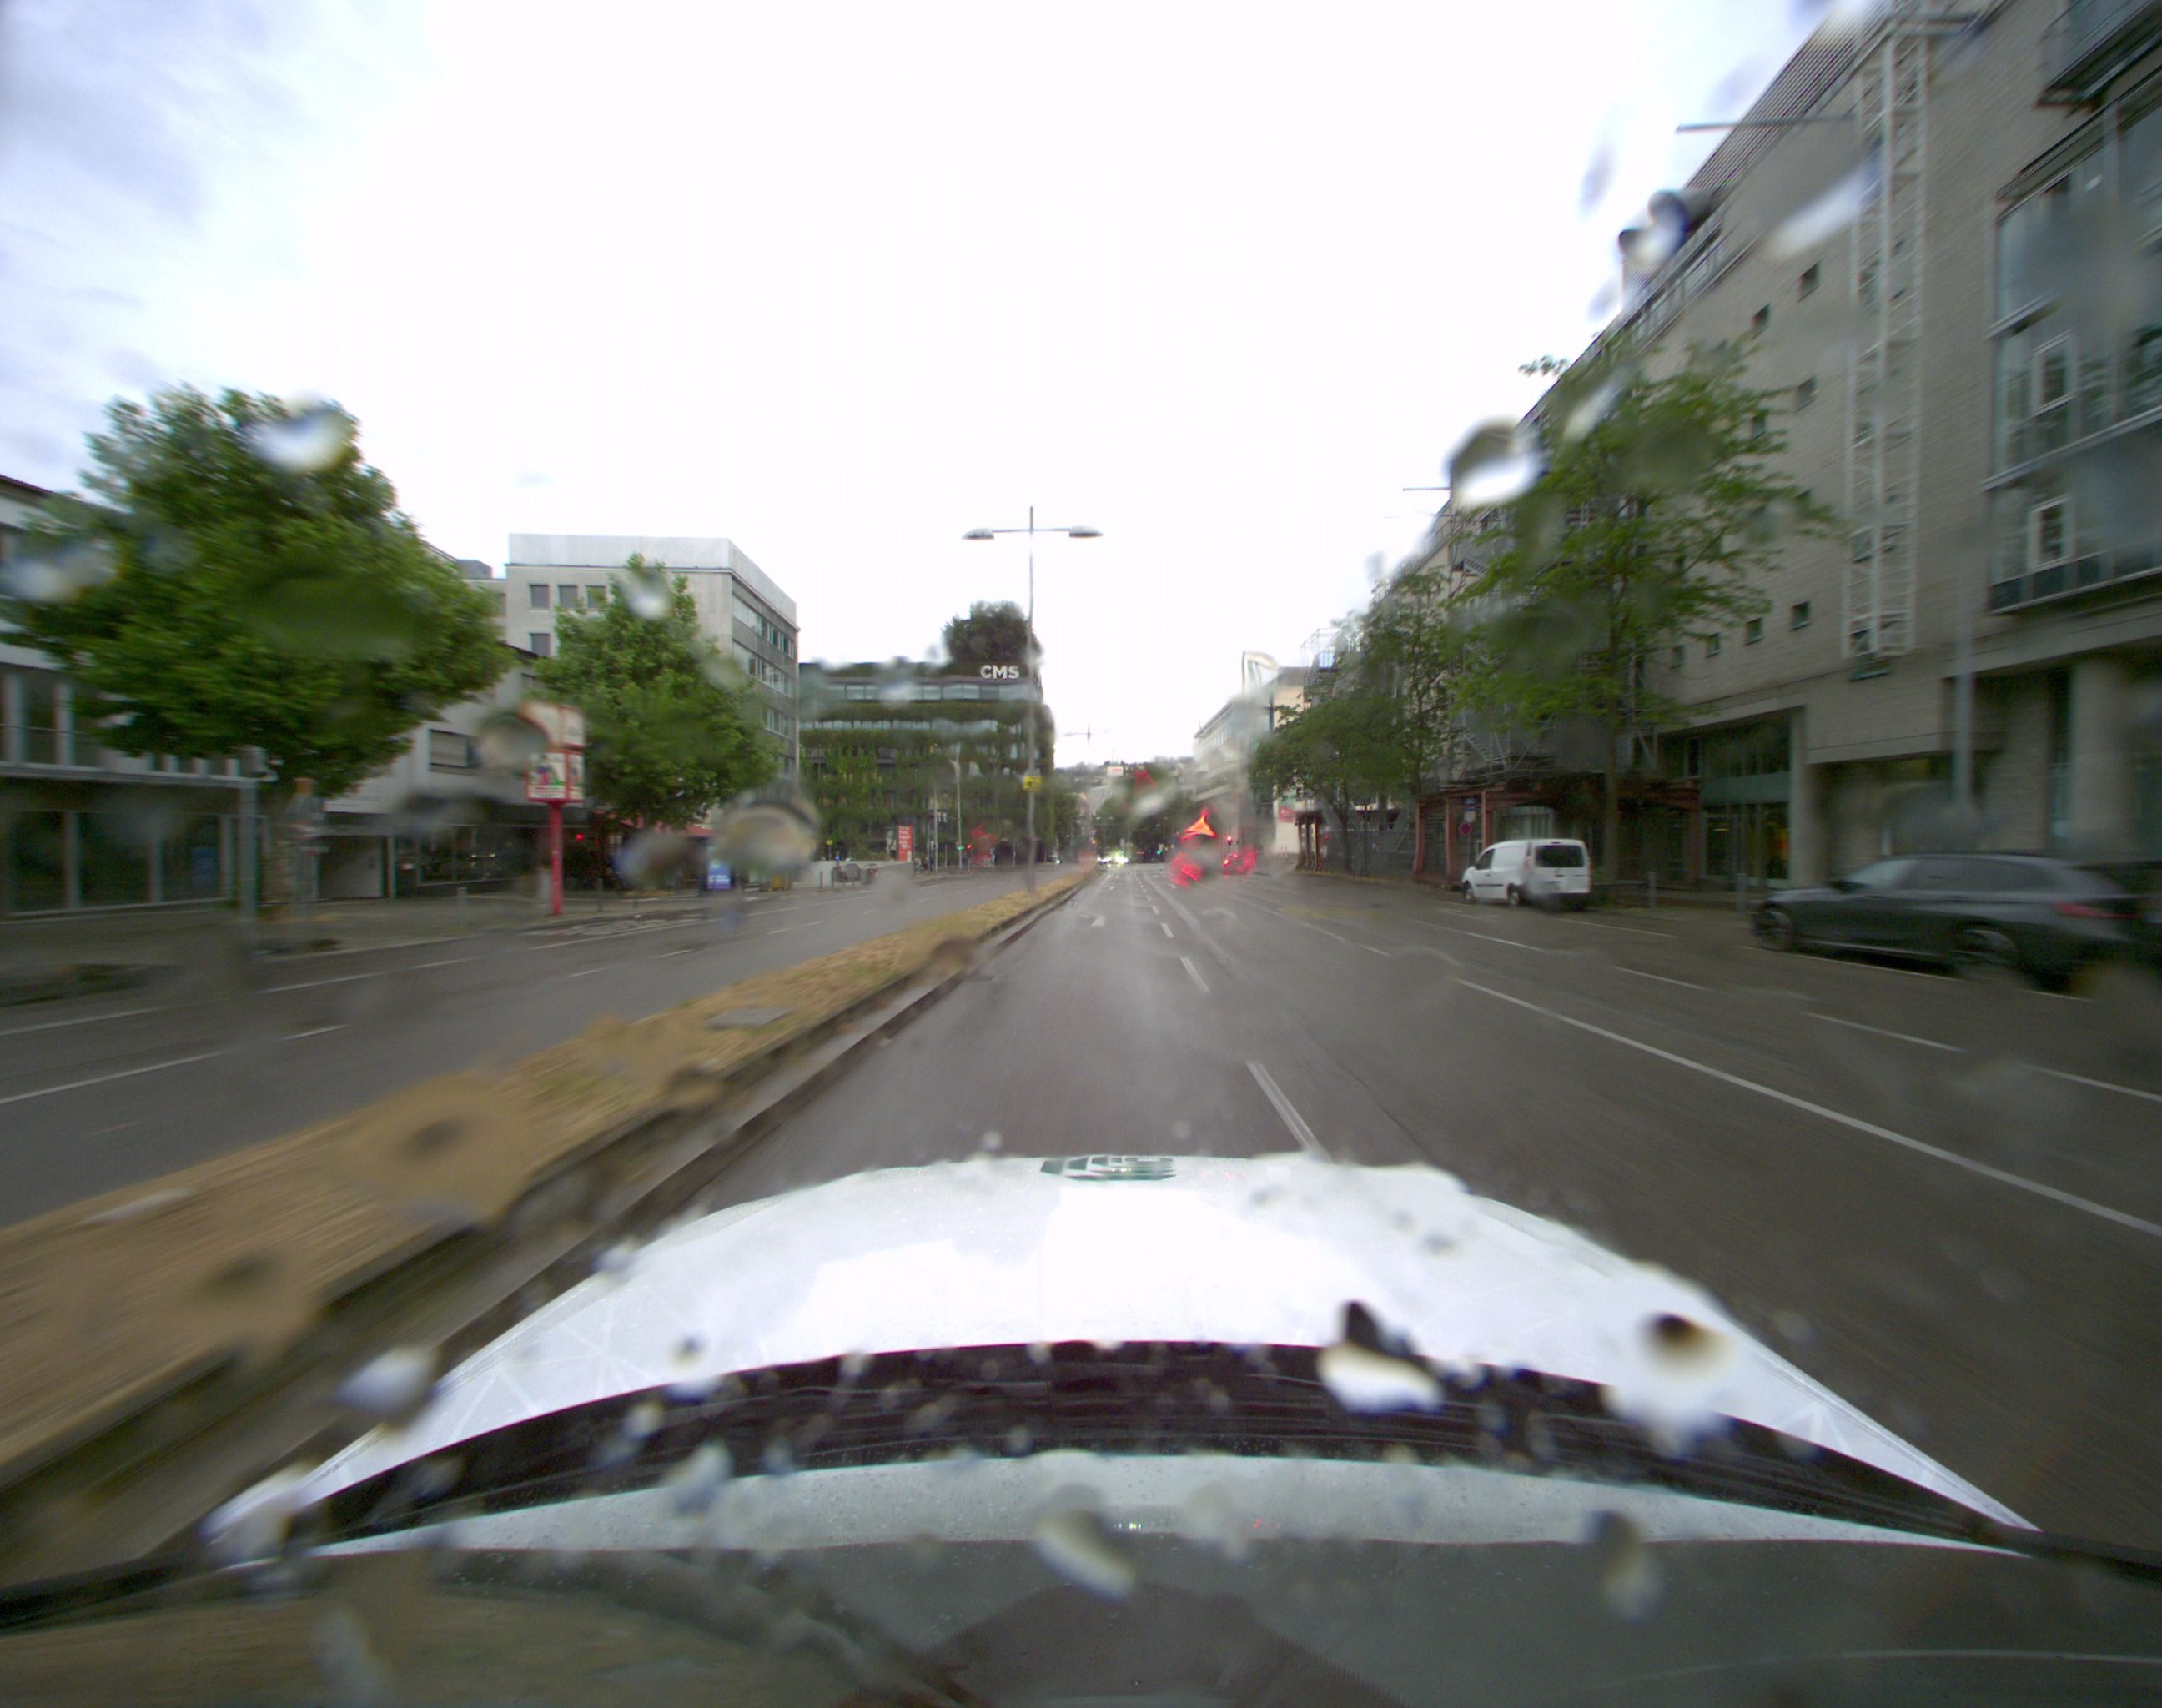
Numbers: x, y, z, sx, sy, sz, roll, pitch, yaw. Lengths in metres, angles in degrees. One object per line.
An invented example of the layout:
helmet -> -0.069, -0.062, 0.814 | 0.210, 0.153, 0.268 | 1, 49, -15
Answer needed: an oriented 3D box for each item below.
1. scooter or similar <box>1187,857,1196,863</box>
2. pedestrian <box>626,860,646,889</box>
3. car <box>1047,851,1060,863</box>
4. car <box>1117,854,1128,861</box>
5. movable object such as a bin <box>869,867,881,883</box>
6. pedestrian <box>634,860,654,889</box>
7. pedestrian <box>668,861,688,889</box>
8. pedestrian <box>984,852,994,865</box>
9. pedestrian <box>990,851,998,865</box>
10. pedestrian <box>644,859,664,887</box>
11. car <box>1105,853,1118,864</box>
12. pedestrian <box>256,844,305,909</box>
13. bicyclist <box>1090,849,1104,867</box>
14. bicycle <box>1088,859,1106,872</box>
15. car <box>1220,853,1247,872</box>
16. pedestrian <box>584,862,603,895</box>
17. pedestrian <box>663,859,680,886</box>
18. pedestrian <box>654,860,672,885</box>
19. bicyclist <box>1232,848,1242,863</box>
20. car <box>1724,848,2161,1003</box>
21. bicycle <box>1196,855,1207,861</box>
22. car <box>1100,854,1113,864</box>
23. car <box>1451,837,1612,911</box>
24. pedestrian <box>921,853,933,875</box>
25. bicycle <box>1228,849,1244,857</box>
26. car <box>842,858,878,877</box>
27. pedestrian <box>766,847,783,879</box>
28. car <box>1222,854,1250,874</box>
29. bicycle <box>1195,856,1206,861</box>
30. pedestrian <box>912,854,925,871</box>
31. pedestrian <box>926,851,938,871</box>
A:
scooter or similar -> 17.142, 0.928, 126.751 | 0.558, 1.007, 1.811 | -1, 0, -20
pedestrian -> -22.506, 1.027, 41.175 | 0.687, 1.450, 0.547 | 0, 0, -2
car -> -4.532, 0.514, 135.681 | 1.988, 1.895, 4.463 | -1, 0, -1
car -> 8.493, 0.657, 166.397 | 1.987, 1.443, 4.555 | -1, 0, 0
movable object such as a bin -> -11.899, 1.214, 46.986 | 0.530, 0.897, 0.681 | -2, 0, -6
pedestrian -> -22.446, 1.042, 41.816 | 0.687, 1.450, 0.583 | 0, 0, 0
pedestrian -> -20.753, 1.067, 41.942 | 0.687, 1.450, 0.707 | 0, 0, -1
pedestrian -> -12.215, 0.579, 108.107 | 0.938, 1.758, 1.164 | -1, 0, -20
pedestrian -> -11.584, 0.550, 108.231 | 0.744, 1.758, 0.969 | -1, 0, -20
pedestrian -> -22.474, 0.997, 42.864 | 0.725, 1.450, 0.690 | 0, 0, -4
car -> 4.700, 0.712, 125.113 | 1.986, 1.550, 4.557 | -1, 0, 2
pedestrian -> -22.093, 0.617, 22.480 | 0.693, 1.763, 0.654 | -1, -1, 5
bicyclist -> 1.501, 0.371, 77.016 | 0.837, 1.704, 1.307 | -1, 0, 28
bicycle -> 1.489, 1.078, 76.993 | 0.837, 1.103, 2.165 | -1, 0, 27
car -> 13.254, 0.700, 70.565 | 1.690, 1.529, 4.447 | -1, 0, 18
pedestrian -> -23.678, 1.204, 39.555 | 0.595, 1.571, 0.603 | -1, -1, -7
pedestrian -> -22.240, 0.998, 44.235 | 0.631, 1.450, 0.690 | 0, 0, -4
pedestrian -> -23.135, 1.019, 45.109 | 0.631, 1.356, 0.690 | 0, 0, -4
bicyclist -> 21.426, 0.199, 111.891 | 0.797, 1.975, 1.101 | 0, 0, -37
car -> 10.630, 0.660, 10.048 | 1.860, 1.437, 4.928 | -1, 0, 5
bicycle -> 19.223, 0.715, 130.401 | 1.778, 0.934, 0.478 | -1, 0, 44
car -> 4.932, 0.876, 156.356 | 2.170, 1.823, 4.639 | -1, 0, -3
car -> 11.807, 0.474, 21.769 | 1.985, 1.750, 4.530 | -1, 0, 3
pedestrian -> -13.737, 0.873, 72.863 | 0.803, 1.885, 0.865 | -5, 0, -3
bicycle -> 21.341, -0.090, 112.037 | 0.797, 1.117, 2.230 | 0, 0, -37
car -> -23.222, 1.392, 85.621 | 3.449, 1.922, 1.993 | -1, 0, -10
pedestrian -> -17.917, 0.534, 47.641 | 0.687, 1.885, 0.758 | 0, 0, -1
car -> 12.022, 0.759, 63.345 | 1.769, 1.540, 4.153 | -1, 0, 5
bicycle -> 20.171, 0.770, 137.049 | 1.785, 0.934, 0.476 | -1, 0, 5
pedestrian -> -15.601, 0.836, 78.356 | 0.827, 1.585, 0.925 | -5, 0, 8
pedestrian -> -14.320, 0.647, 78.298 | 0.892, 1.885, 0.786 | -5, 0, -1
